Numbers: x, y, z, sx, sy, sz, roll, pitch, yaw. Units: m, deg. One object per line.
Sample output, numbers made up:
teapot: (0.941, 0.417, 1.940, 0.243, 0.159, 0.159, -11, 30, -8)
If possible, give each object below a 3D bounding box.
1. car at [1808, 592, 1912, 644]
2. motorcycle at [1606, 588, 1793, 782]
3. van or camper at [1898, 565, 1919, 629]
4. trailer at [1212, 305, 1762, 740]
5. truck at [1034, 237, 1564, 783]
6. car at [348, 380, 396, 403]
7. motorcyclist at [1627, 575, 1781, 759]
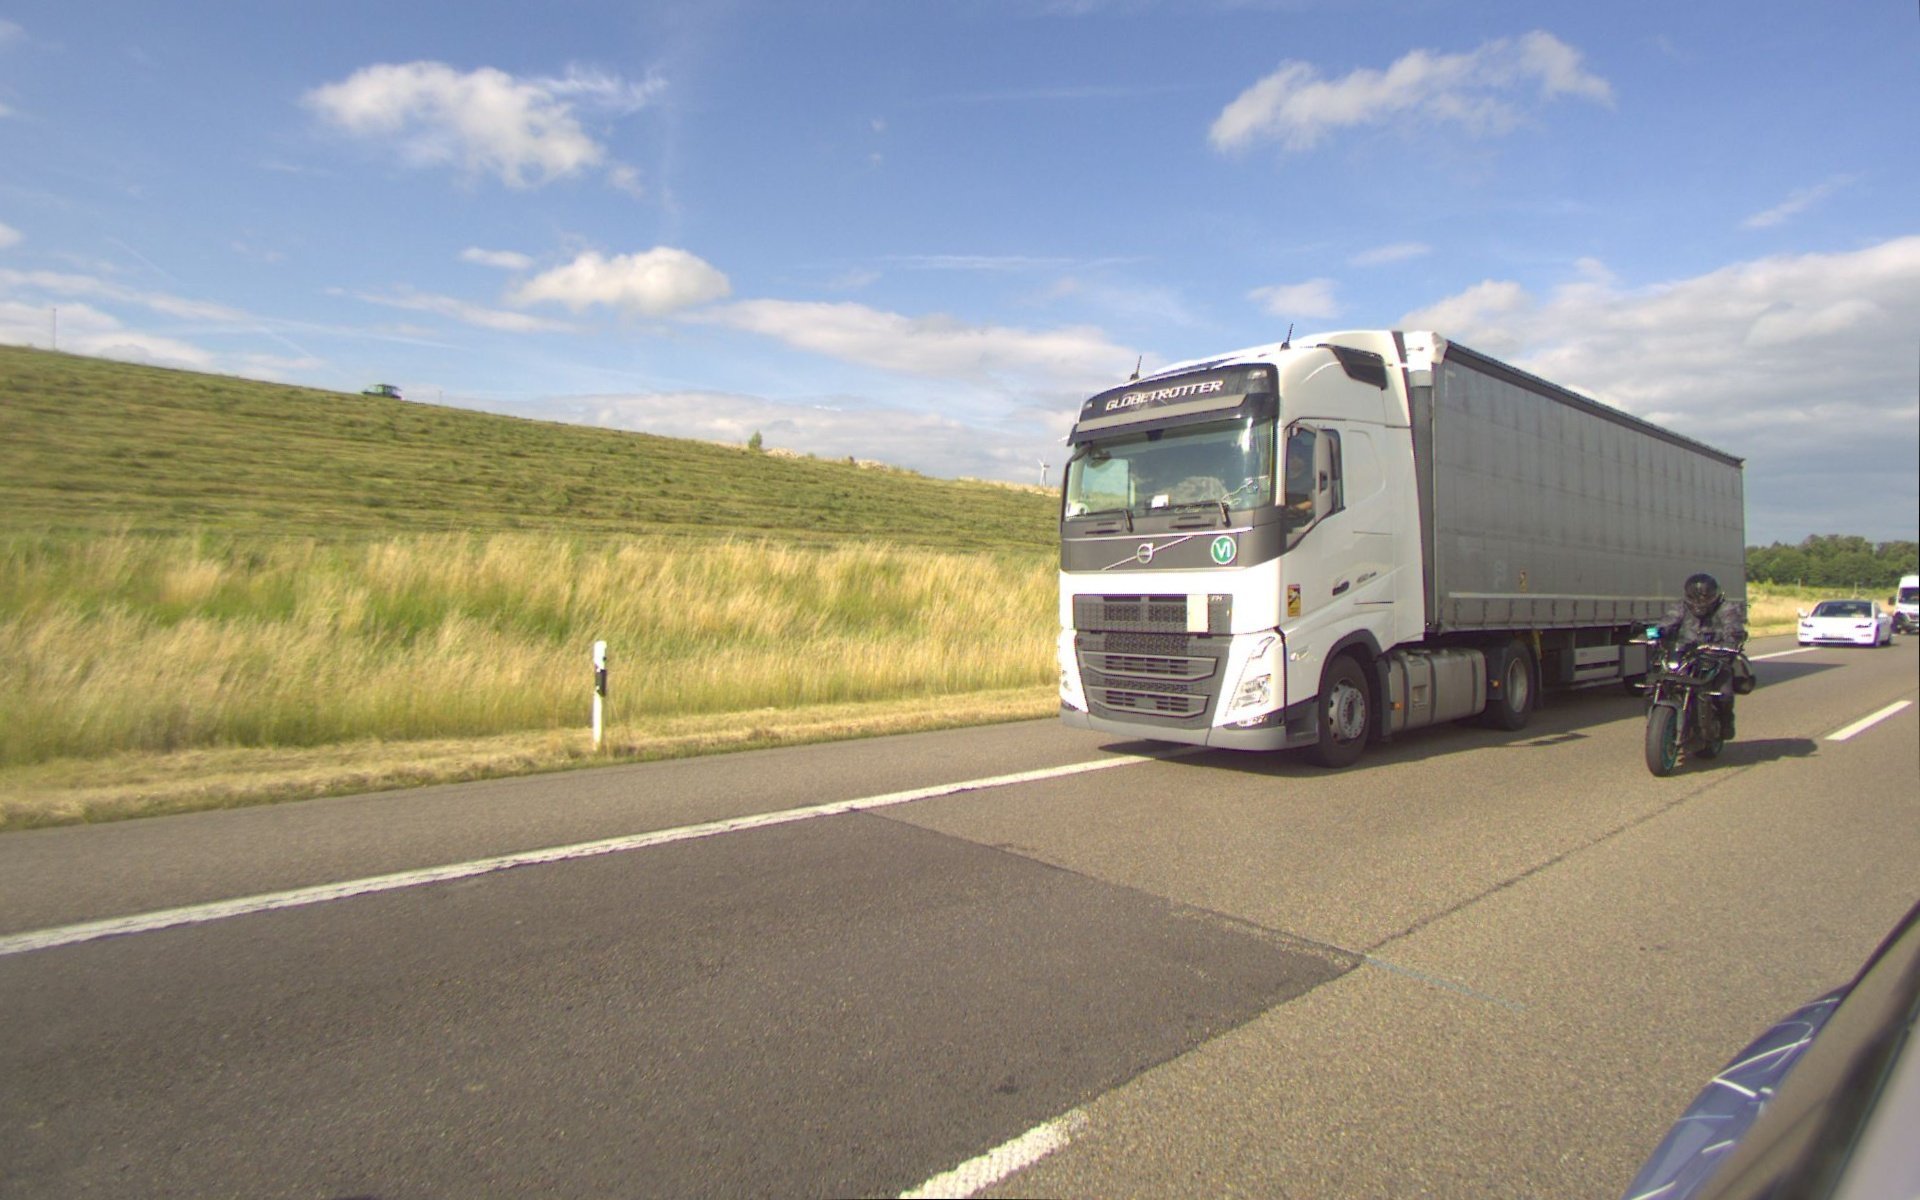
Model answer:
car: (27.942, 0.509, 31.381, 4.384, 1.435, 1.870, -1, 1, -41)
motorcycle: (6.403, 0.640, 8.722, 1.948, 1.474, 0.897, -1, 1, -41)
van or camper: (41.740, -0.147, 43.014, 6.301, 2.576, 2.100, -1, 1, -41)
trailer: (8.748, -0.761, 14.975, 13.462, 4.092, 2.620, 0, 0, -42)
truck: (3.801, -0.691, 10.566, 6.014, 4.092, 2.605, 0, 0, -42)
car: (-60.333, -21.361, 103.951, 1.695, 1.565, 3.958, 1, 1, 30)
motorcyclist: (6.416, 0.520, 8.729, 0.877, 1.474, 0.897, 0, 1, -41)
